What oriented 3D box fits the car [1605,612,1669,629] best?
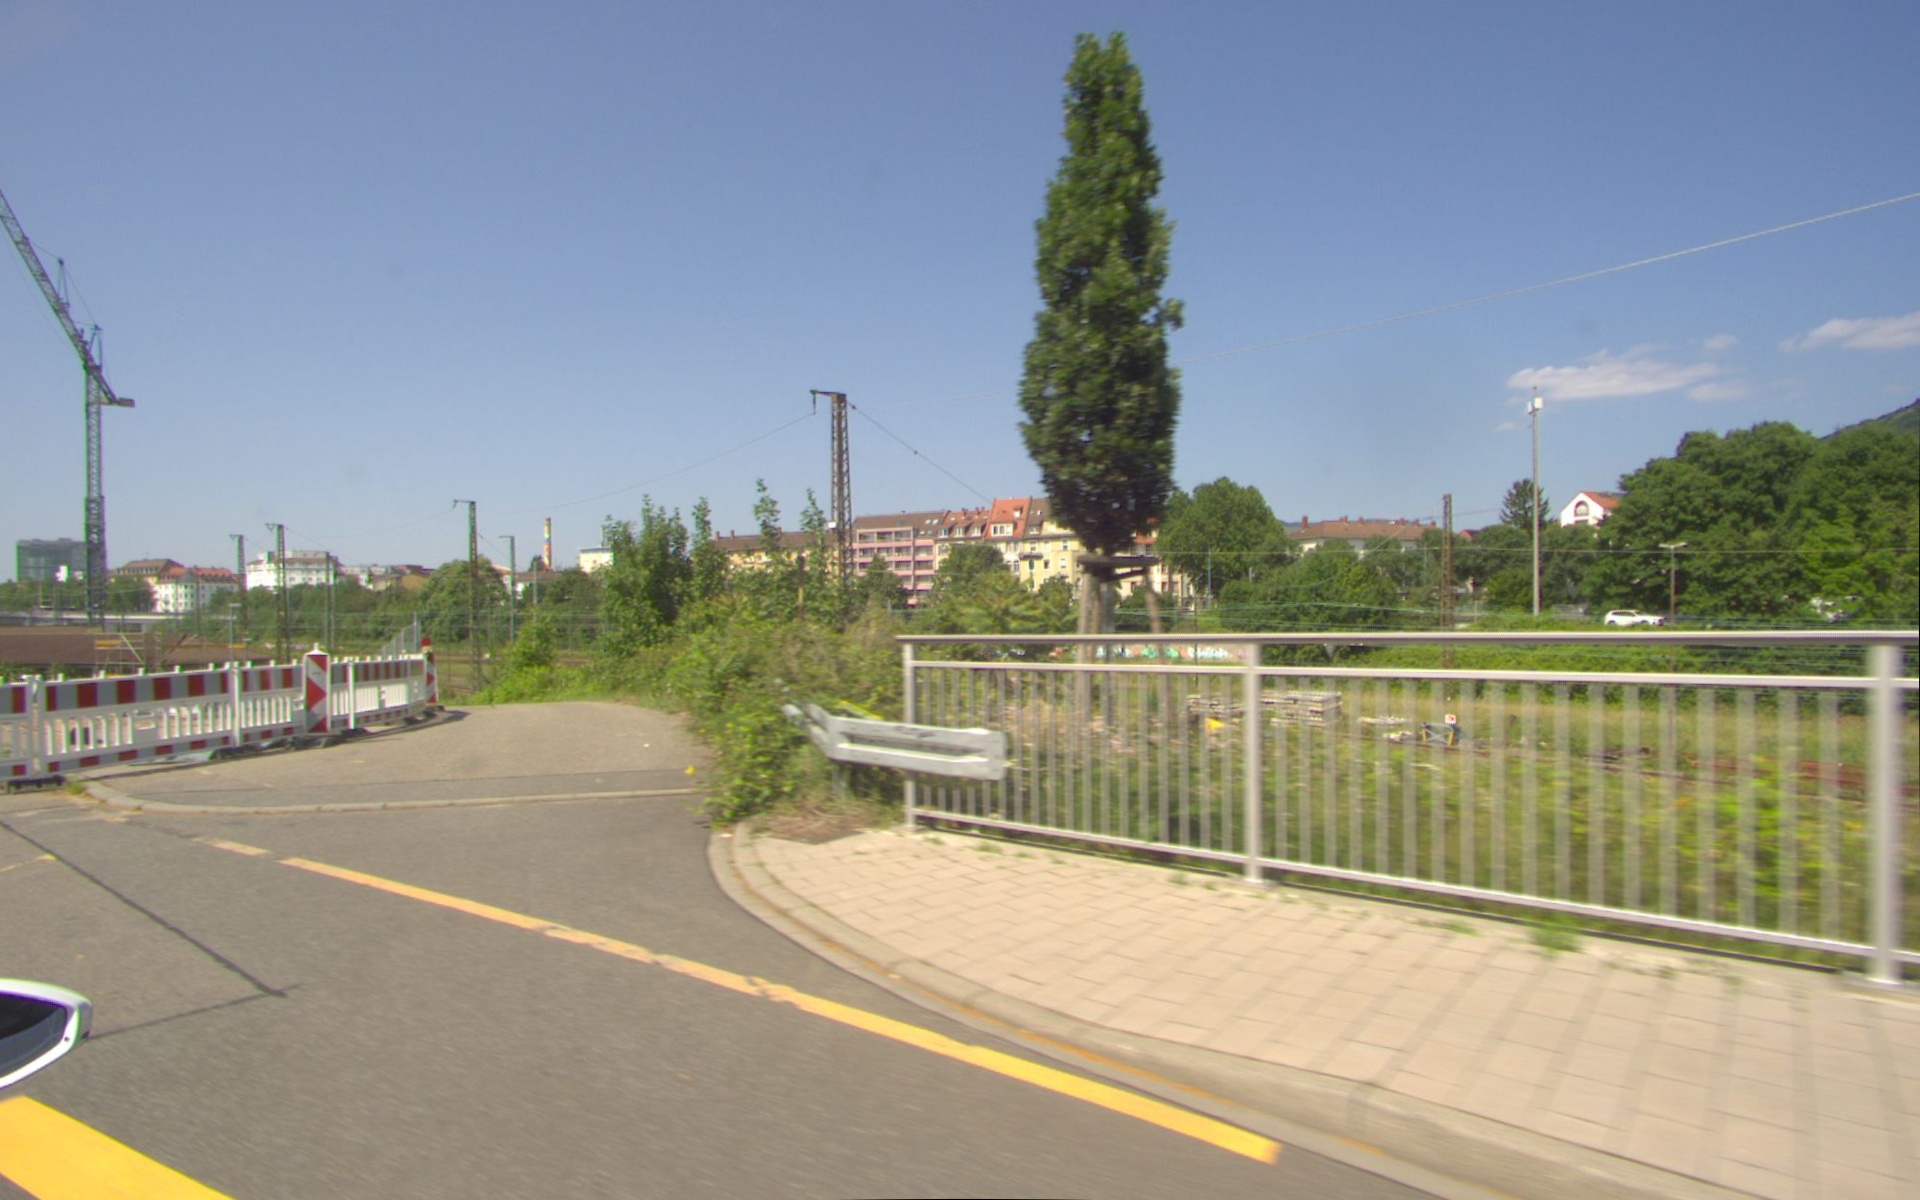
[{"bbox_3d":[57.482,1.718,85.104,1.834,1.384,4.306,-1,-1,-20],"label":"car"}]

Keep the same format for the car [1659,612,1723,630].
[{"bbox_3d":[58.977,1.725,80.820,1.753,1.384,3.833,-1,-1,-21],"label":"car"}]
